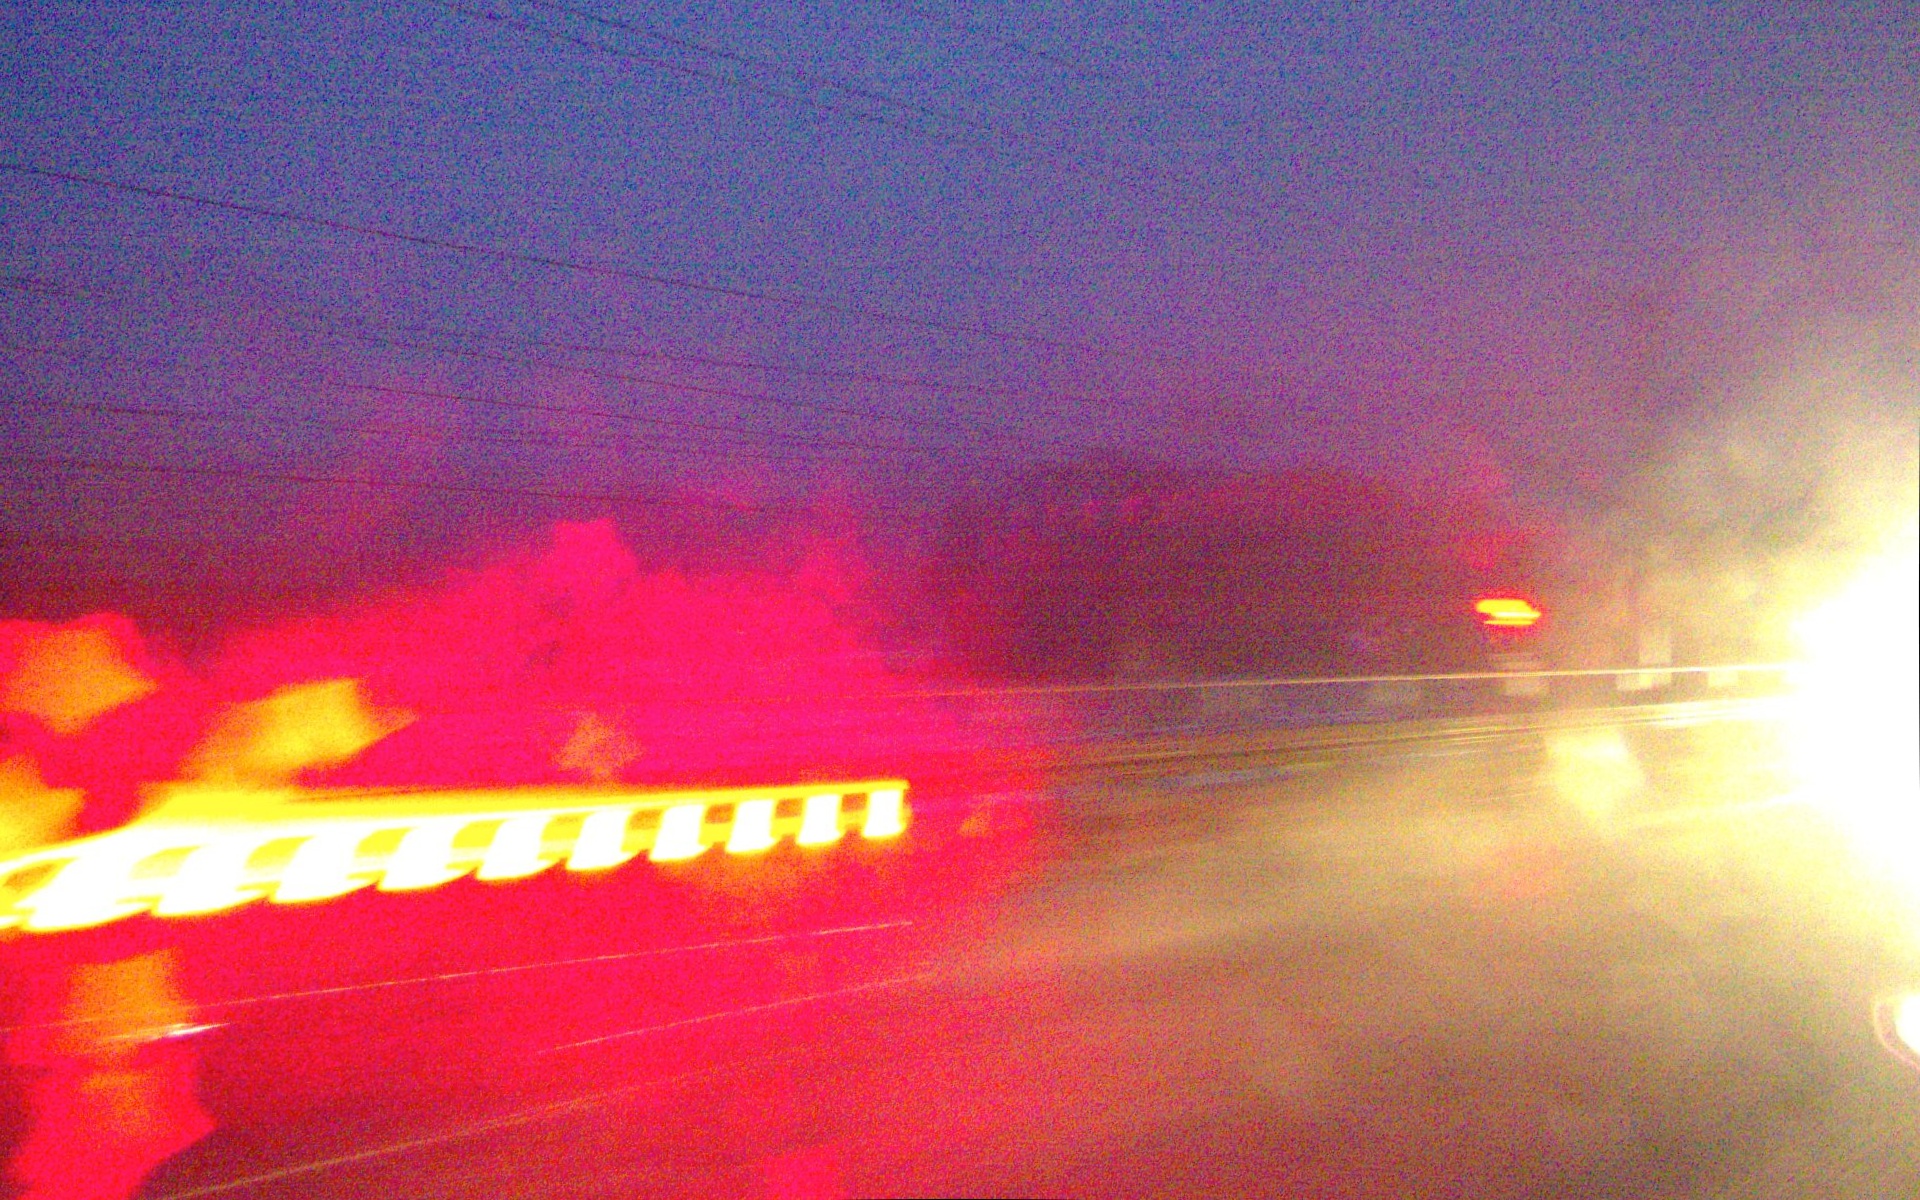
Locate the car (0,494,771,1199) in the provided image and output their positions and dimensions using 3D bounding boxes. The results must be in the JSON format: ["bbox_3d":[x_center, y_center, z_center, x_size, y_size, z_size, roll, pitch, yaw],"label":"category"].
[{"bbox_3d":[-2.722,0.681,1.832,4.356,1.649,1.796,1,-3,-31],"label":"car"}]
